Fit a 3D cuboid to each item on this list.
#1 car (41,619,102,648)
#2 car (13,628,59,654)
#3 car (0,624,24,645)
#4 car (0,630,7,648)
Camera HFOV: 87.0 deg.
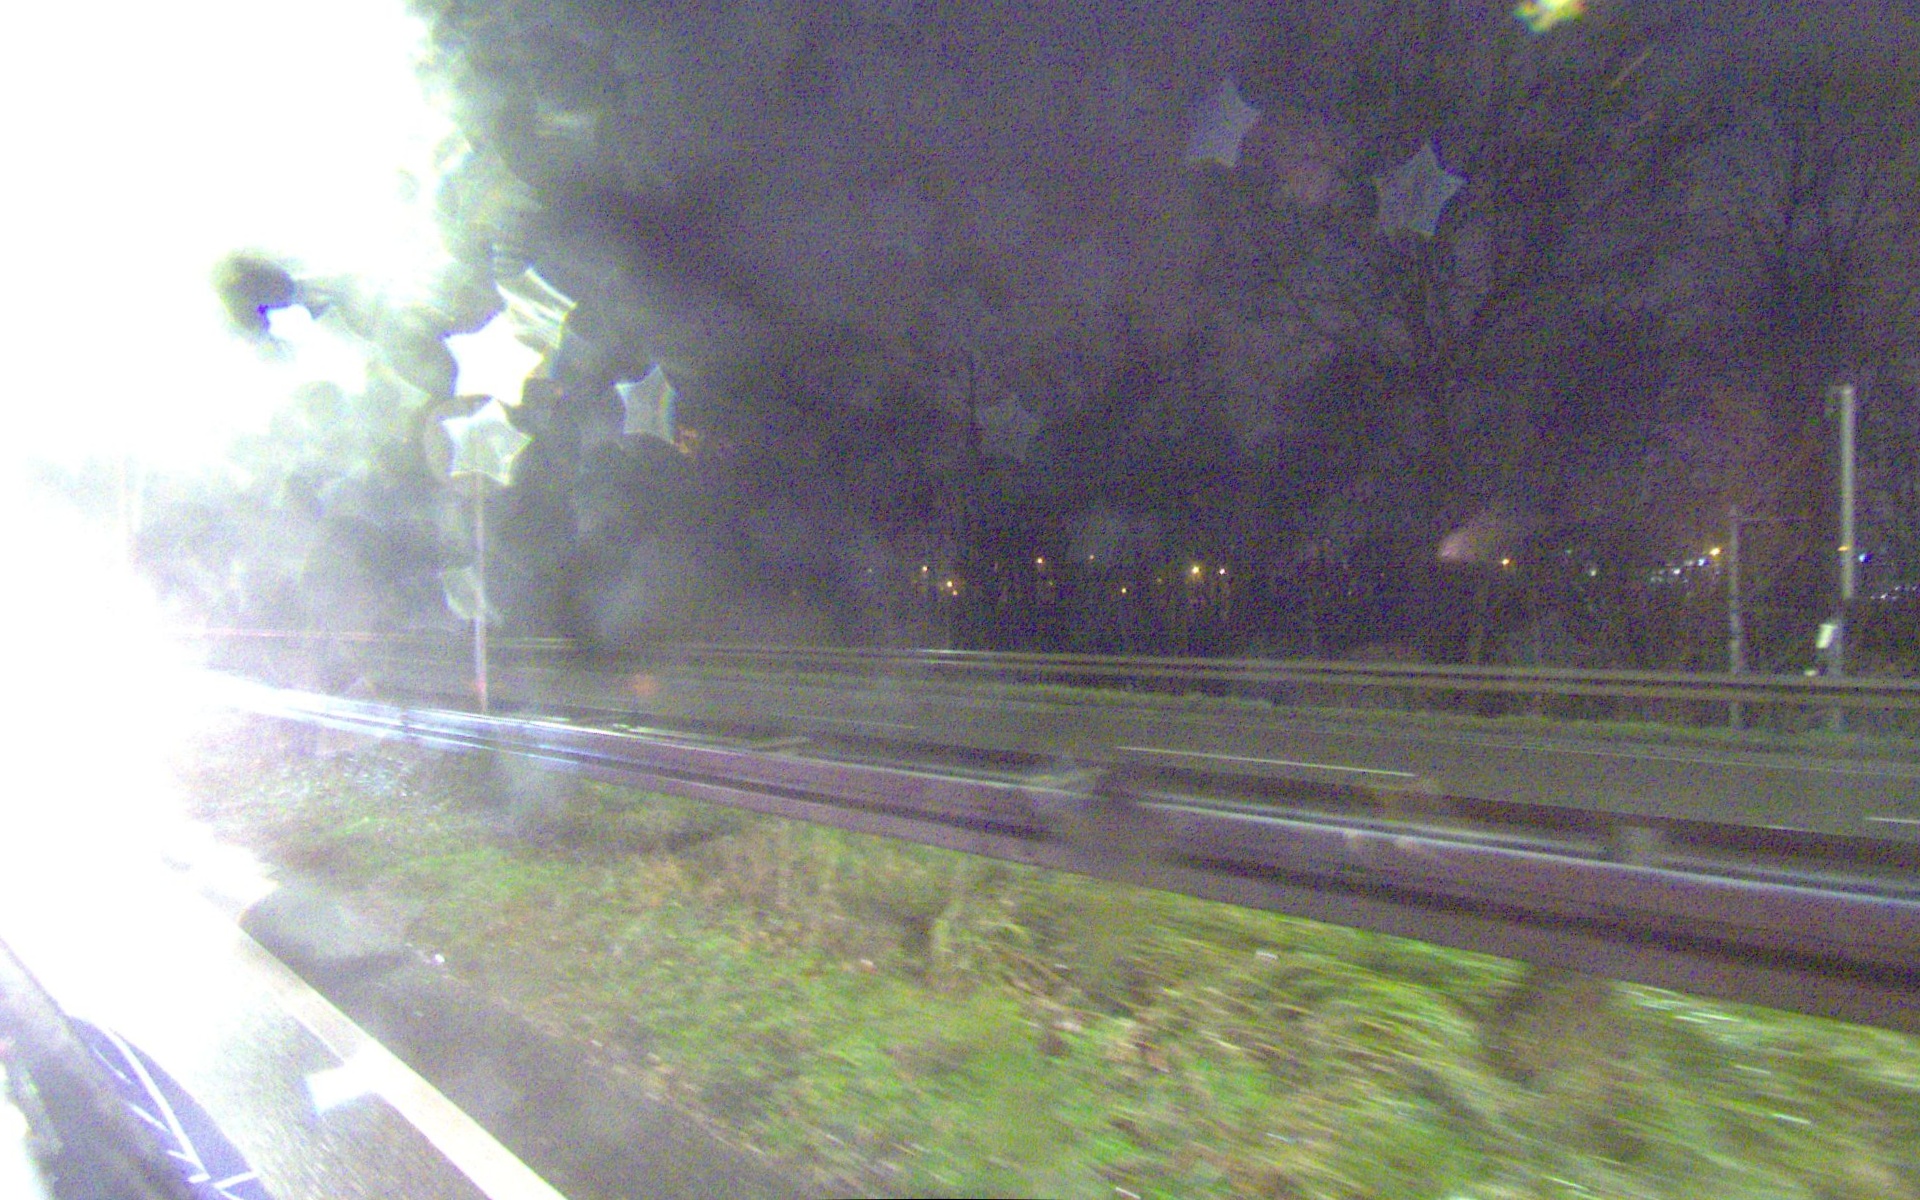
[{"bbox_3d":[-44.838,1.710,51.039,4.461,1.405,1.796,-2,-4,43],"label":"car"},{"bbox_3d":[-57.864,2.559,63.354,4.001,1.581,1.788,-2,-4,44],"label":"car"},{"bbox_3d":[-71.258,2.568,75.655,4.163,1.554,1.550,-1,-3,44],"label":"car"},{"bbox_3d":[-89.140,3.587,93.416,4.002,1.663,1.602,-1,-1,45],"label":"car"}]
